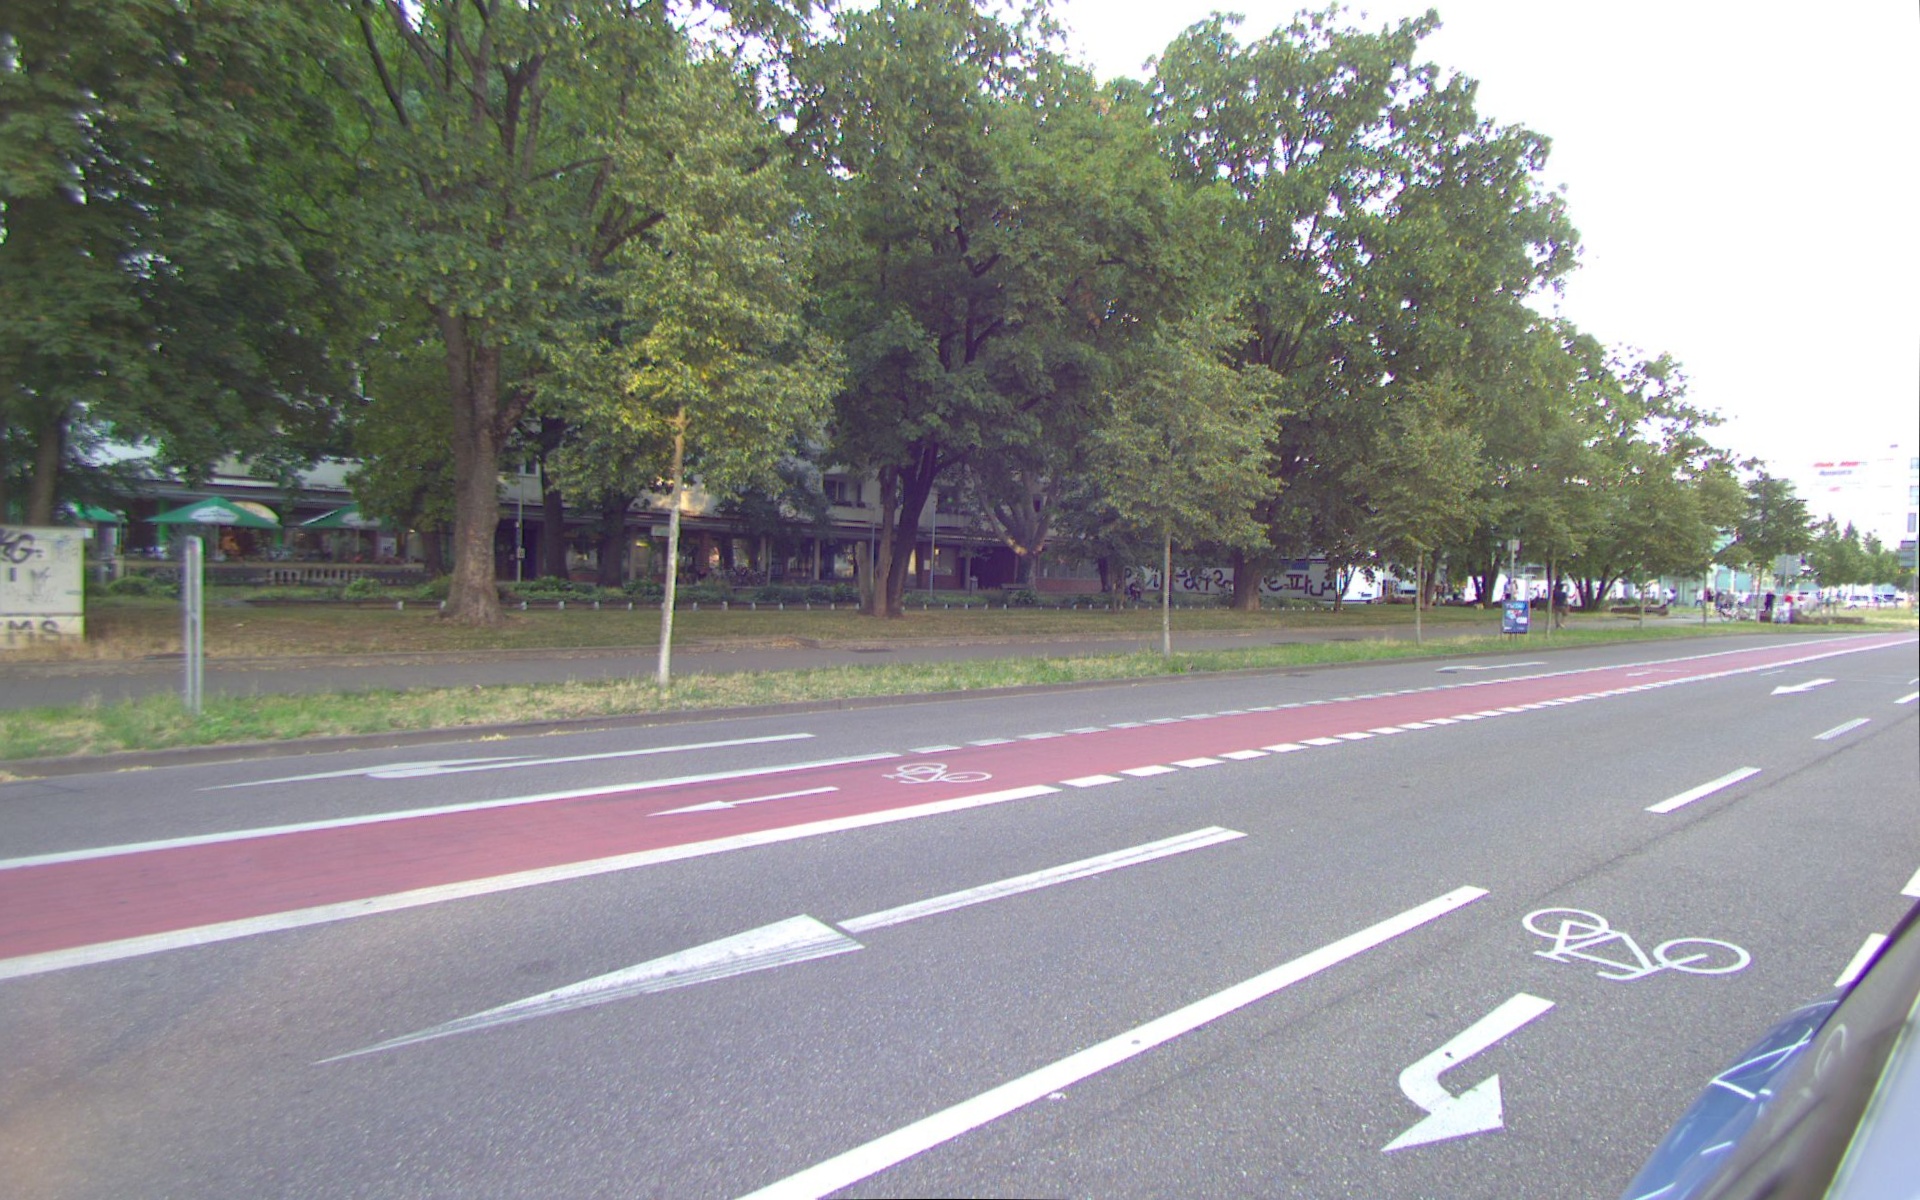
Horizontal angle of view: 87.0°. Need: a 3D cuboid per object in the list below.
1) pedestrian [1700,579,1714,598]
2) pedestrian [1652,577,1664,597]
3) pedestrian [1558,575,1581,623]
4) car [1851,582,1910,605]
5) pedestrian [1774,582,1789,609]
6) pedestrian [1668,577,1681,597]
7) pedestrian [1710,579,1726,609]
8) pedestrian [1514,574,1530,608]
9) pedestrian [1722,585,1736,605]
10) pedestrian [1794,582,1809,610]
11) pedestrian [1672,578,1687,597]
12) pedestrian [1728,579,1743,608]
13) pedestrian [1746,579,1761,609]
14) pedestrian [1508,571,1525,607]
[{"bbox_3d":[53.288,-0.827,72.221,0.550,1.371,0.662,0,2,-40],"label":"pedestrian"},{"bbox_3d":[49.414,-0.897,71.632,0.759,1.371,0.519,0,2,-41],"label":"pedestrian"},{"bbox_3d":[22.939,-0.041,38.103,0.546,1.760,0.558,0,2,-41],"label":"pedestrian"},{"bbox_3d":[88.465,-0.683,97.317,1.966,2.038,3.992,0,2,-43],"label":"car"},{"bbox_3d":[55.530,-0.312,68.387,0.497,1.779,0.638,0,2,-40],"label":"pedestrian"},{"bbox_3d":[50.086,-0.900,70.915,0.759,1.371,0.519,0,2,-41],"label":"pedestrian"},{"bbox_3d":[43.478,-0.348,58.041,0.707,1.751,0.508,0,2,-40],"label":"pedestrian"},{"bbox_3d":[26.501,-0.429,47.708,0.359,1.621,0.500,1,2,-40],"label":"pedestrian"},{"bbox_3d":[54.024,-0.338,71.126,0.496,1.371,0.654,0,2,-40],"label":"pedestrian"},{"bbox_3d":[55.914,-0.265,67.258,0.497,1.779,0.638,0,2,-40],"label":"pedestrian"},{"bbox_3d":[51.824,-0.904,72.894,0.604,1.371,0.728,0,2,-40],"label":"pedestrian"},{"bbox_3d":[46.535,-0.402,60.694,0.707,1.751,0.519,0,2,-40],"label":"pedestrian"},{"bbox_3d":[47.083,-0.363,60.043,0.707,1.751,0.508,0,2,-40],"label":"pedestrian"},{"bbox_3d":[25.424,-0.487,46.251,0.513,1.621,0.500,0,2,-41],"label":"pedestrian"}]
